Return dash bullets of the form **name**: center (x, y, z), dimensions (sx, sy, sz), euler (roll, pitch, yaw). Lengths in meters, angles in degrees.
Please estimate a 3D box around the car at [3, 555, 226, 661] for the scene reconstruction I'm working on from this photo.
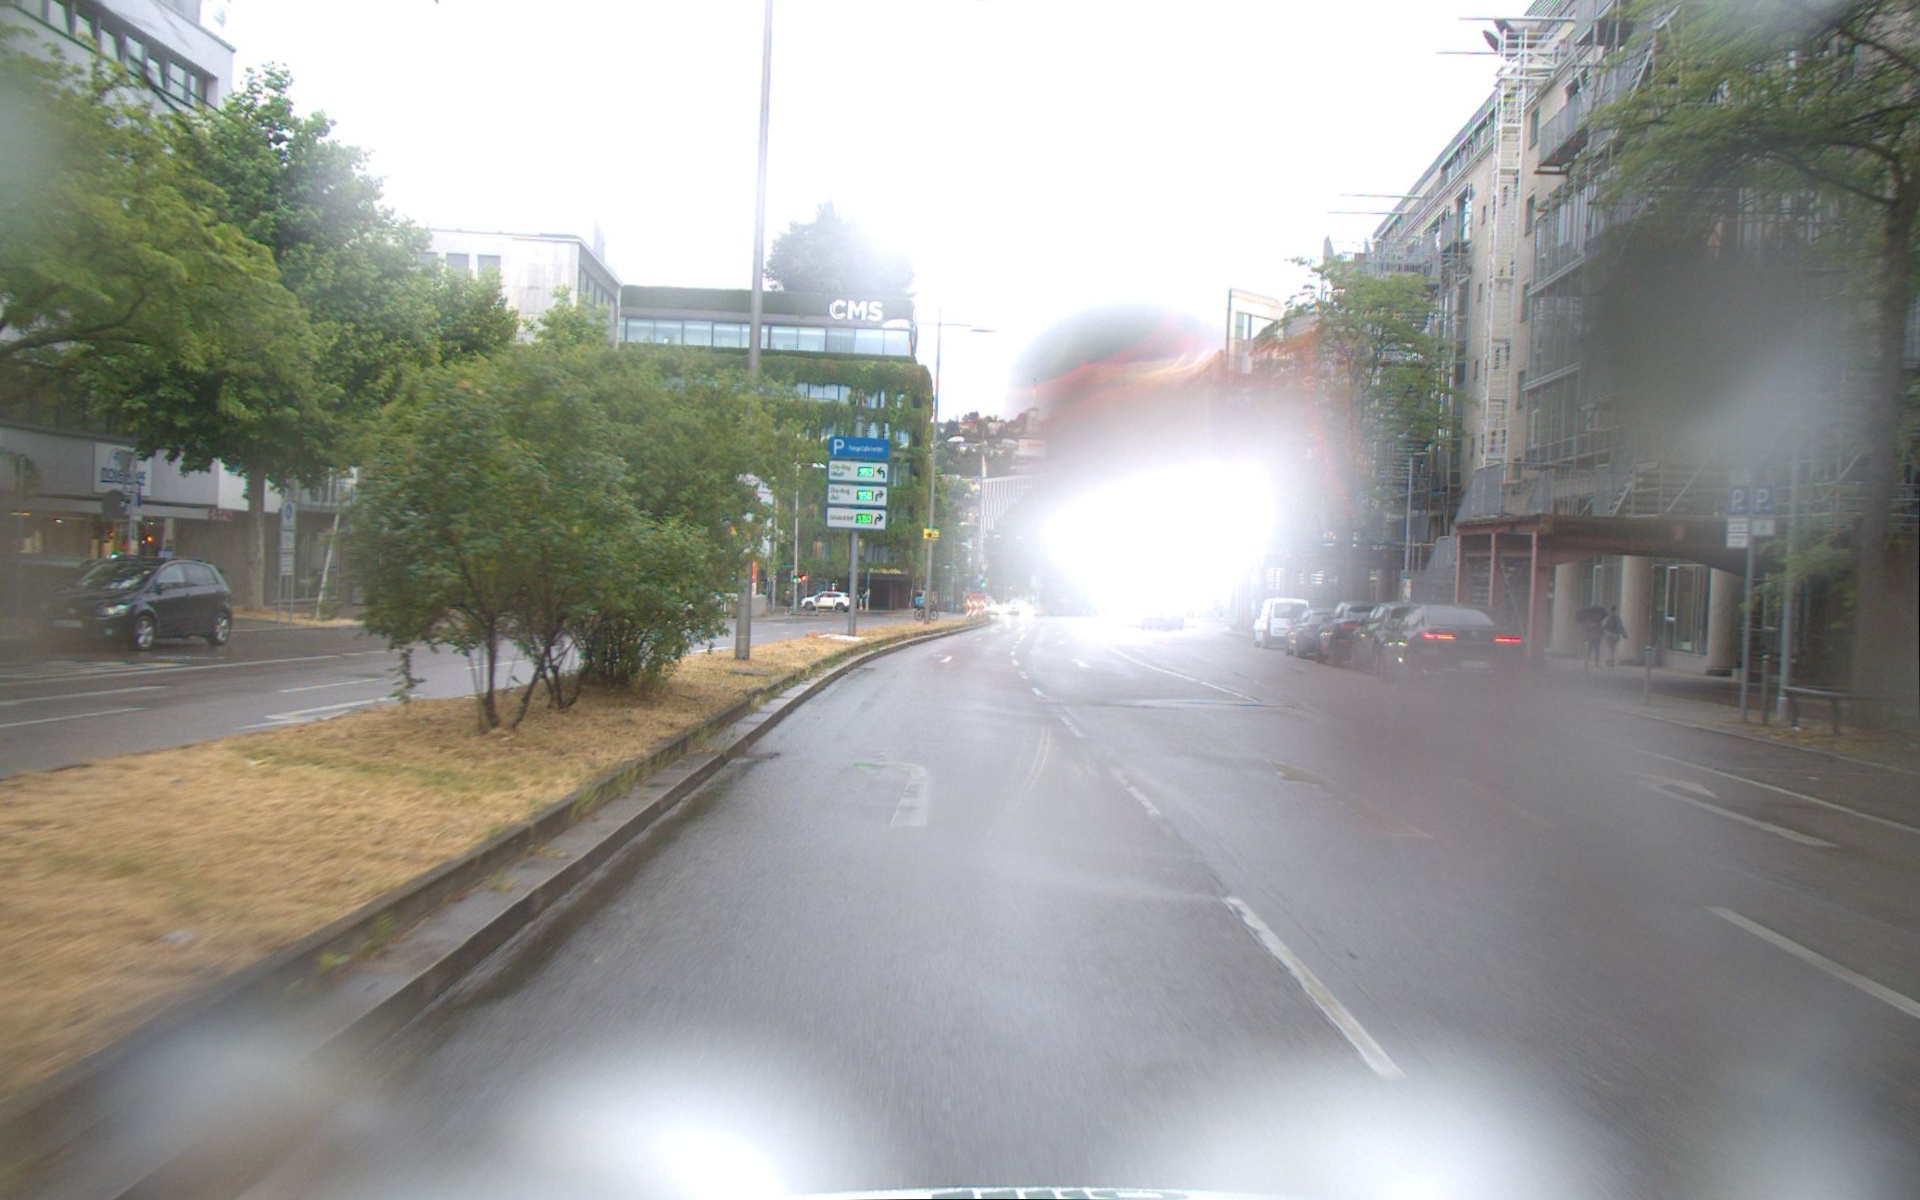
- **car**: center (-14.605, 0.128, 28.844), dimensions (1.742, 1.664, 4.024), euler (2, 0, 1)

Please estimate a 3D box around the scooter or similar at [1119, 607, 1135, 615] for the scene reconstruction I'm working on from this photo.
- **scooter or similar**: center (18.644, 1.266, 184.927), dimensions (1.717, 0.894, 0.487), euler (1, 0, -16)

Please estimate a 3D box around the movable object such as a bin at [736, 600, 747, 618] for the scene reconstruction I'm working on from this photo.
- **movable object such as a bin**: center (-11.368, 0.466, 86.013), dimensions (0.521, 0.913, 0.681), euler (0, 0, -6)

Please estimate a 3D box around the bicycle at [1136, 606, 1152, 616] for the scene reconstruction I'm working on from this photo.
- **bicycle**: center (19.770, 1.179, 177.629), dimensions (1.756, 0.950, 0.476), euler (2, 0, 6)

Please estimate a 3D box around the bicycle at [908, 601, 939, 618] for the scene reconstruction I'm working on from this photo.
- **bicycle**: center (-2.496, 0.661, 113.258), dimensions (0.834, 1.122, 2.137), euler (1, 0, 44)

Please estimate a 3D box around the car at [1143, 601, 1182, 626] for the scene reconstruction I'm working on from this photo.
- **car**: center (13.385, 0.905, 109.326), dimensions (1.668, 1.556, 4.428), euler (2, 0, 18)

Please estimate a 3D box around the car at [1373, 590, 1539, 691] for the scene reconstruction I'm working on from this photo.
- **car**: center (8.934, 0.677, 30.246), dimensions (1.951, 1.628, 5.293), euler (1, 0, 6)

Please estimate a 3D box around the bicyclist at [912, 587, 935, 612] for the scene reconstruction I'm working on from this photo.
- **bicyclist**: center (-2.497, -0.036, 113.261), dimensions (0.834, 1.734, 1.290), euler (1, 0, 44)

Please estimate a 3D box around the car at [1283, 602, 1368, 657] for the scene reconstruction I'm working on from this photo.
- **car**: center (10.714, 0.831, 48.828), dimensions (1.829, 1.462, 4.924), euler (1, 0, 5)

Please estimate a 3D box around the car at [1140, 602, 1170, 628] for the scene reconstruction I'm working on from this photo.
- **car**: center (12.036, 0.919, 102.146), dimensions (1.741, 1.567, 4.149), euler (2, 0, 5)

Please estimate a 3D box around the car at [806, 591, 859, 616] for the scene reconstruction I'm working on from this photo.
- **car**: center (-10.546, 0.265, 137.139), dimensions (3.902, 1.917, 2.001), euler (2, 0, 14)

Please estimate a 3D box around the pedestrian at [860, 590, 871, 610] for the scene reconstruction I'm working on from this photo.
- **pedestrian**: center (-8.596, 0.024, 150.760), dimensions (0.730, 1.788, 0.970), euler (2, 0, -20)

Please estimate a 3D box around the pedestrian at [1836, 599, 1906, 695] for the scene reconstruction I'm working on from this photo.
- **pedestrian**: center (15.841, 0.810, 28.771), dimensions (0.689, 1.624, 0.924), euler (2, 0, 1)

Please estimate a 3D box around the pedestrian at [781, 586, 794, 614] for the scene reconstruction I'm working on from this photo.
- **pedestrian**: center (-12.213, -0.024, 116.904), dimensions (0.789, 1.918, 0.866), euler (-2, 0, -3)

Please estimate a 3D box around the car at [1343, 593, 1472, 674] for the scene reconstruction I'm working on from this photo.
- **car**: center (9.841, 0.687, 36.682), dimensions (1.822, 1.628, 4.595), euler (1, 0, 3)

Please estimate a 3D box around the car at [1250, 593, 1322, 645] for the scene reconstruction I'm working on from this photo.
- **car**: center (11.896, 0.677, 60.538), dimensions (1.952, 1.780, 4.528), euler (2, 0, 3)

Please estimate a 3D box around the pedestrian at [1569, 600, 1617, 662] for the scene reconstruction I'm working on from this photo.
- **pedestrian**: center (17.052, 0.826, 44.564), dimensions (0.801, 1.624, 1.113), euler (2, 0, -1)

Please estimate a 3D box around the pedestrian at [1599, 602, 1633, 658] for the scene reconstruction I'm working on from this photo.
- **pedestrian**: center (18.375, 0.831, 46.327), dimensions (0.666, 1.545, 0.767), euler (2, 0, 6)

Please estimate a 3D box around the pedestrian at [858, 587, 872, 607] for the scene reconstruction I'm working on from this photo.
- **pedestrian**: center (-8.657, -0.253, 151.062), dimensions (0.921, 1.788, 1.165), euler (2, 0, -20)

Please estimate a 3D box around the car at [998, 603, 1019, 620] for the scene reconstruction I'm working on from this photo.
- **car**: center (4.700, 1.102, 160.782), dimensions (1.952, 1.577, 4.557), euler (1, 0, 3)

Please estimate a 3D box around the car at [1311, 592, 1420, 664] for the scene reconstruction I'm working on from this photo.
- **car**: center (10.223, 0.673, 42.047), dimensions (1.951, 1.675, 4.865), euler (1, 0, 5)
